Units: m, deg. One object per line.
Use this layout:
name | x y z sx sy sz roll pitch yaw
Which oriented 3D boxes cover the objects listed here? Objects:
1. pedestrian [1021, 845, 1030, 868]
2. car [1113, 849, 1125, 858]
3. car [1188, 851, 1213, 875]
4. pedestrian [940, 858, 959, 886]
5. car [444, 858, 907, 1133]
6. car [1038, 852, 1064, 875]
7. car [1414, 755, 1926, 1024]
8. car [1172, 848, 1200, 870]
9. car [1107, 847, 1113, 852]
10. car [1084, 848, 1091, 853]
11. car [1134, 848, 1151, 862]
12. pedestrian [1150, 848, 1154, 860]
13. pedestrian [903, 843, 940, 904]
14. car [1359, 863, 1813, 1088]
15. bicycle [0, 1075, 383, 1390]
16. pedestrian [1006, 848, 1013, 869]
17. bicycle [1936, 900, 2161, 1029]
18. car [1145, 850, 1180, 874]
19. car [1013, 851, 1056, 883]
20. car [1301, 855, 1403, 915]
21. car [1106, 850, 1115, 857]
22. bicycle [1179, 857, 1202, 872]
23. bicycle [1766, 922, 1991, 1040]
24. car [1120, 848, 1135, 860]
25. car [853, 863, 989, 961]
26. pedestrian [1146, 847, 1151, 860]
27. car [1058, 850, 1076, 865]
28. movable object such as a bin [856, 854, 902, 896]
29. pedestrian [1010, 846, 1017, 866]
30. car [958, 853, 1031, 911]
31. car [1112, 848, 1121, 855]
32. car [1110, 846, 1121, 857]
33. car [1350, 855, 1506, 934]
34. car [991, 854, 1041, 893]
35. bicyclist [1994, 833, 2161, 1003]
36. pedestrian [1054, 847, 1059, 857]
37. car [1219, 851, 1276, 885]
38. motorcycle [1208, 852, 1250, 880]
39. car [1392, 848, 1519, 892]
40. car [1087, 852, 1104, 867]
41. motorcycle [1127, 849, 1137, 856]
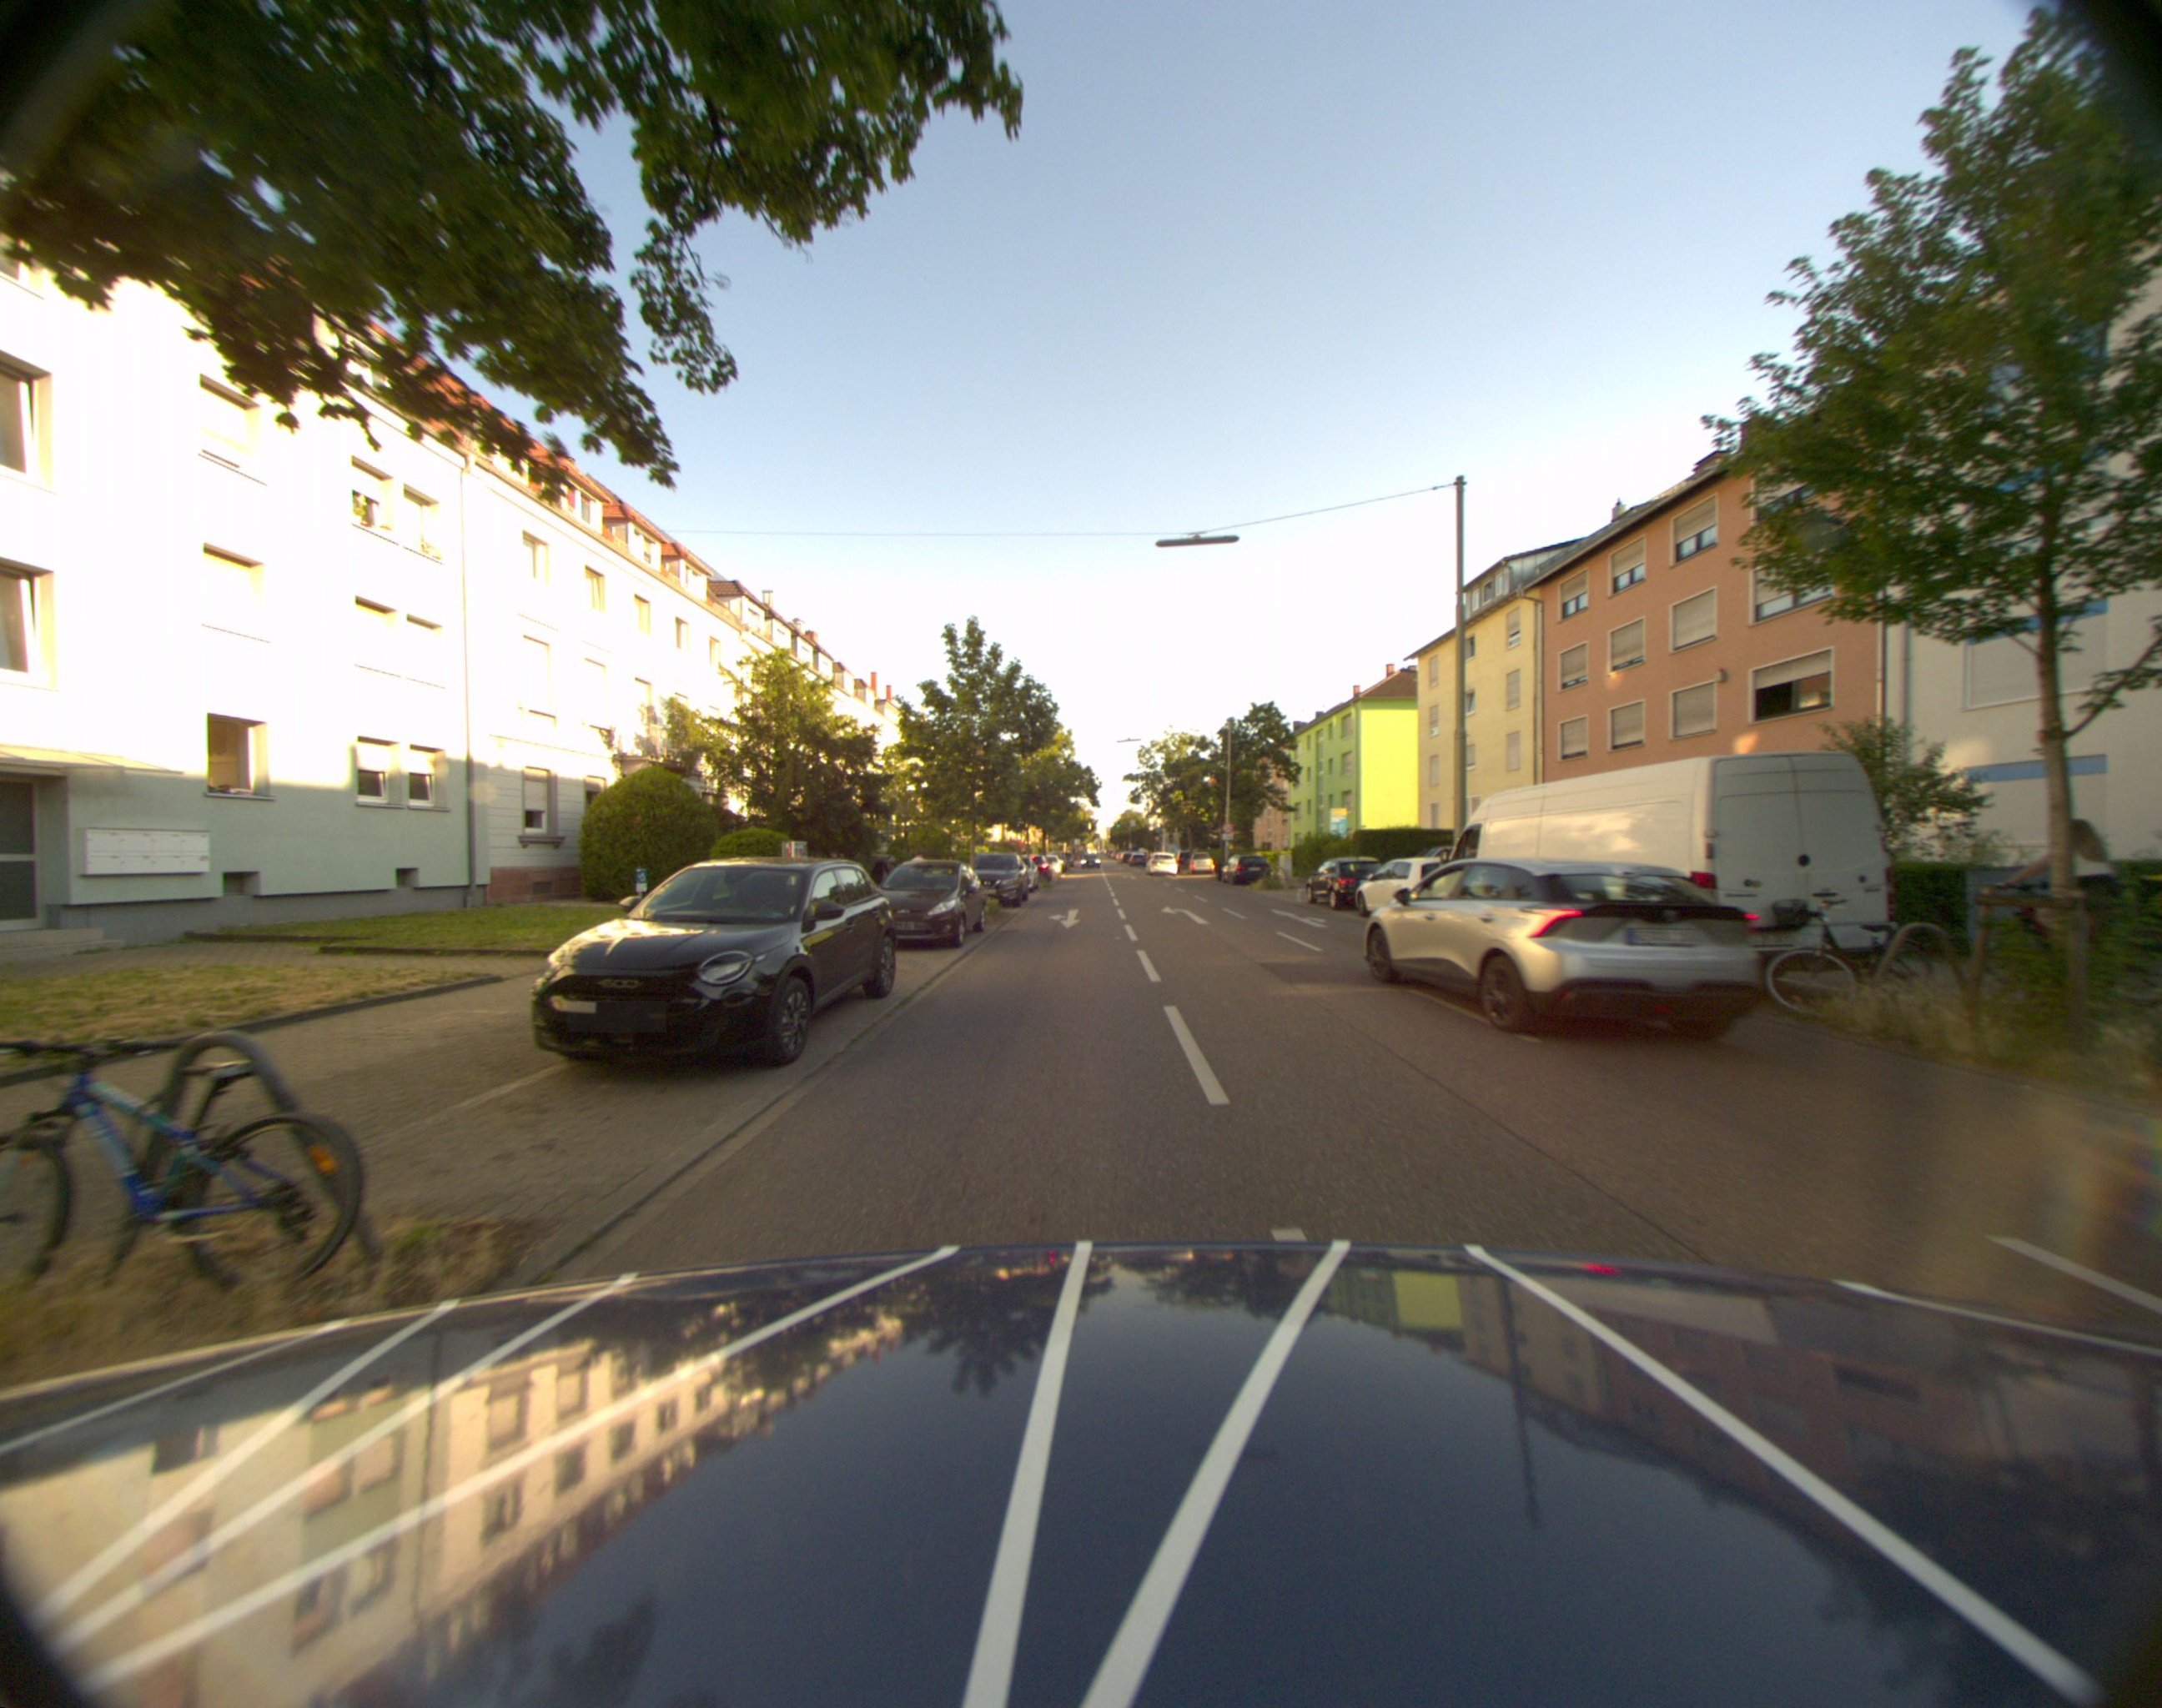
pedestrian | -4.472 0.192 61.641 0.549 1.839 0.765 -1 1 8
car | 6.586 -0.065 132.107 1.820 1.438 4.109 2 1 0
car | 8.439 0.589 53.830 1.502 1.607 2.862 -1 1 4
pedestrian | -6.084 0.835 35.218 0.674 1.227 0.790 -1 1 2
car | -3.032 0.898 6.886 1.758 1.653 4.252 0 1 3
car | -2.099 0.643 53.958 1.641 1.482 4.415 1 1 1
car | 7.373 0.336 11.052 1.998 2.601 7.105 -2 0 1
car | 8.639 0.411 62.536 1.788 1.723 4.617 0 1 2
car | 8.236 -1.311 215.109 1.845 1.312 4.441 0 1 2
car | 1.789 -0.925 210.126 1.744 1.509 3.811 -1 1 3
car | 6.635 0.063 81.925 1.703 1.462 4.295 1 1 5
pedestrian | 11.488 -0.028 122.757 0.645 2.002 0.814 -1 2 2
pedestrian | -4.518 0.528 21.537 0.789 1.691 0.808 -1 1 6
car | 4.345 0.897 7.433 1.785 1.486 3.970 1 1 1
bicycle | -3.362 1.254 2.583 1.556 0.864 0.393 0 1 -2
pedestrian | -5.856 0.392 62.570 0.512 1.687 0.527 -1 1 -4
bicycle | 9.953 1.043 7.687 0.622 1.009 1.953 0 1 9
car | 5.520 0.512 51.955 1.884 1.534 4.266 0 0 -1
car | -2.493 0.668 41.990 1.879 1.572 4.821 1 1 3
car | 7.683 0.821 21.921 1.616 1.464 3.813 -3 0 1
car | 6.450 -0.205 166.380 1.841 1.465 4.671 1 1 1
bicycle | 8.519 0.845 59.118 1.679 1.083 0.560 -2 1 3
bicycle | 7.369 1.164 7.063 1.475 1.009 0.440 -2 1 8
car | 5.931 -0.001 97.087 1.704 1.395 4.027 1 1 1
car | -2.768 0.943 14.005 1.617 1.457 3.958 1 0 1
pedestrian | 11.027 -0.108 124.122 0.639 2.002 0.739 -1 1 2
car | -1.449 0.352 81.947 1.796 1.622 4.029 -1 0 0
movable object such as a bin | -7.489 0.762 28.228 1.269 1.484 1.140 2 1 11
pedestrian | -5.485 0.160 61.606 0.512 1.687 0.527 -1 1 -4
car | -2.584 0.788 23.505 1.722 1.592 4.096 0 0 1
car | 8.617 -0.632 184.683 1.866 1.819 5.228 1 1 4
car | 6.545 -0.455 143.930 1.998 1.935 4.777 1 1 1
car | 7.698 0.813 17.323 1.711 1.483 4.058 -3 0 1
car | -2.657 0.778 32.081 1.722 1.485 4.393 0 0 0
bicyclist | 9.933 0.590 7.555 0.604 1.584 0.940 0 1 9
pedestrian | -4.345 -0.335 134.388 0.830 1.673 0.660 0 1 5
car | 7.982 0.637 36.800 1.783 1.496 4.588 -1 0 1
motorcycle | 7.959 0.645 40.787 2.031 1.381 0.988 -3 2 -31
car | 14.170 0.569 28.888 3.997 1.520 1.629 -2 1 1
car | 1.428 0.515 75.060 1.641 1.482 4.415 1 1 1
motorcycle | 10.309 -0.317 154.190 1.263 1.526 2.887 -1 1 -13
